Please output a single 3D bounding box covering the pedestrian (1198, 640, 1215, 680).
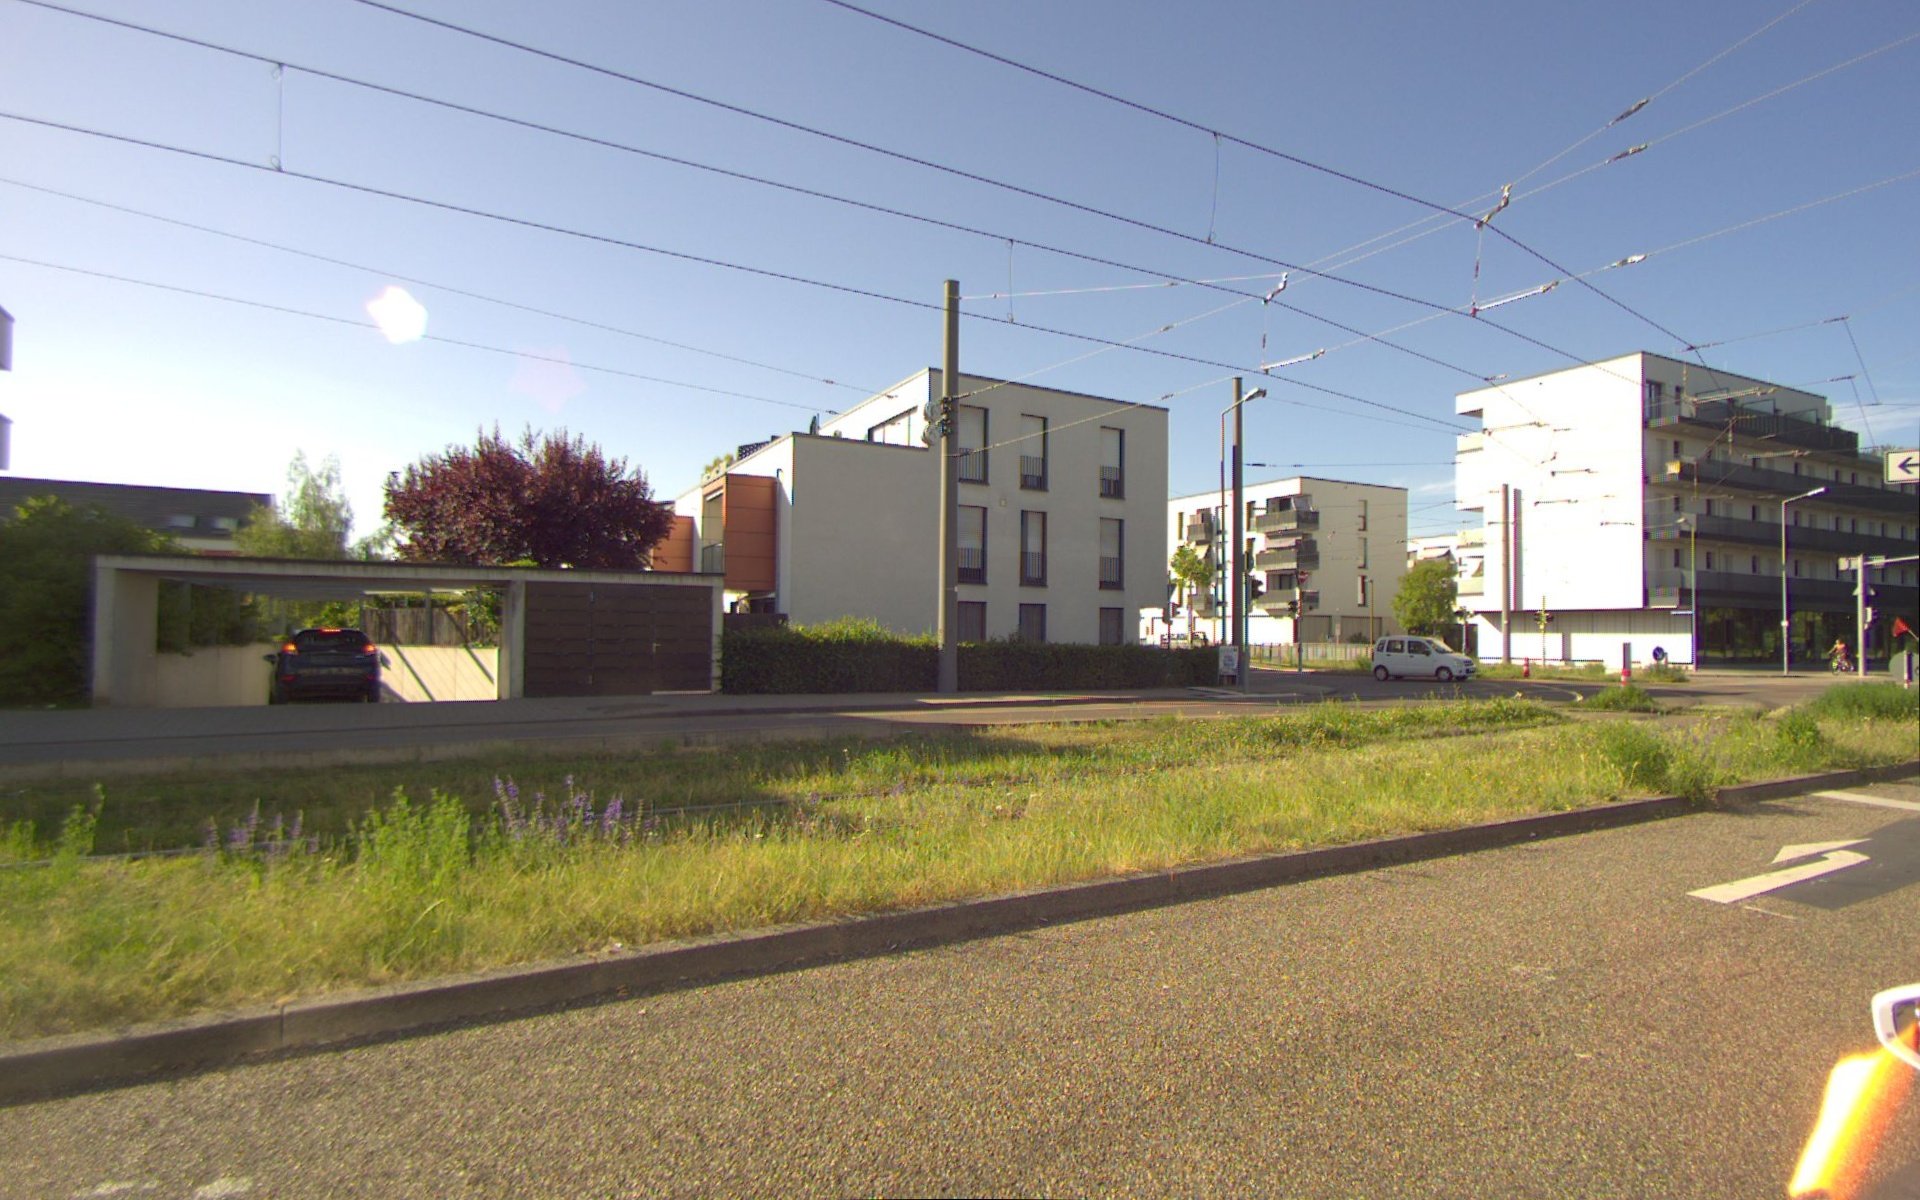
[{"bbox_3d":[9.510,2.309,38.807,0.548,1.483,0.742,1,0,19],"label":"pedestrian"}]

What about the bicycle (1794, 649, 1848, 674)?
[{"bbox_3d":[41.130,2.942,47.997,1.800,1.099,0.969,1,0,-6],"label":"bicycle"}]

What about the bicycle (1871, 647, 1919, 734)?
[{"bbox_3d":[14.763,1.366,13.442,0.988,1.190,3.664,1,1,-31],"label":"bicycle"}]

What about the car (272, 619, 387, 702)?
[{"bbox_3d":[-12.313,1.138,19.762,1.689,1.449,3.709,3,-2,-30],"label":"car"}]

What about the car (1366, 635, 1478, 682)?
[{"bbox_3d":[17.124,2.151,37.316,1.582,1.674,3.456,2,-3,-45],"label":"car"}]

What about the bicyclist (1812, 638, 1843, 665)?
[{"bbox_3d":[41.541,2.465,48.092,0.729,1.252,0.842,1,0,-5],"label":"bicyclist"}]

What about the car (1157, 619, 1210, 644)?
[{"bbox_3d":[17.786,2.474,80.089,1.977,1.862,3.967,1,0,-31],"label":"car"}]

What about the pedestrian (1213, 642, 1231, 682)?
[{"bbox_3d":[10.039,2.355,38.497,0.548,1.483,0.611,1,0,23],"label":"pedestrian"}]
